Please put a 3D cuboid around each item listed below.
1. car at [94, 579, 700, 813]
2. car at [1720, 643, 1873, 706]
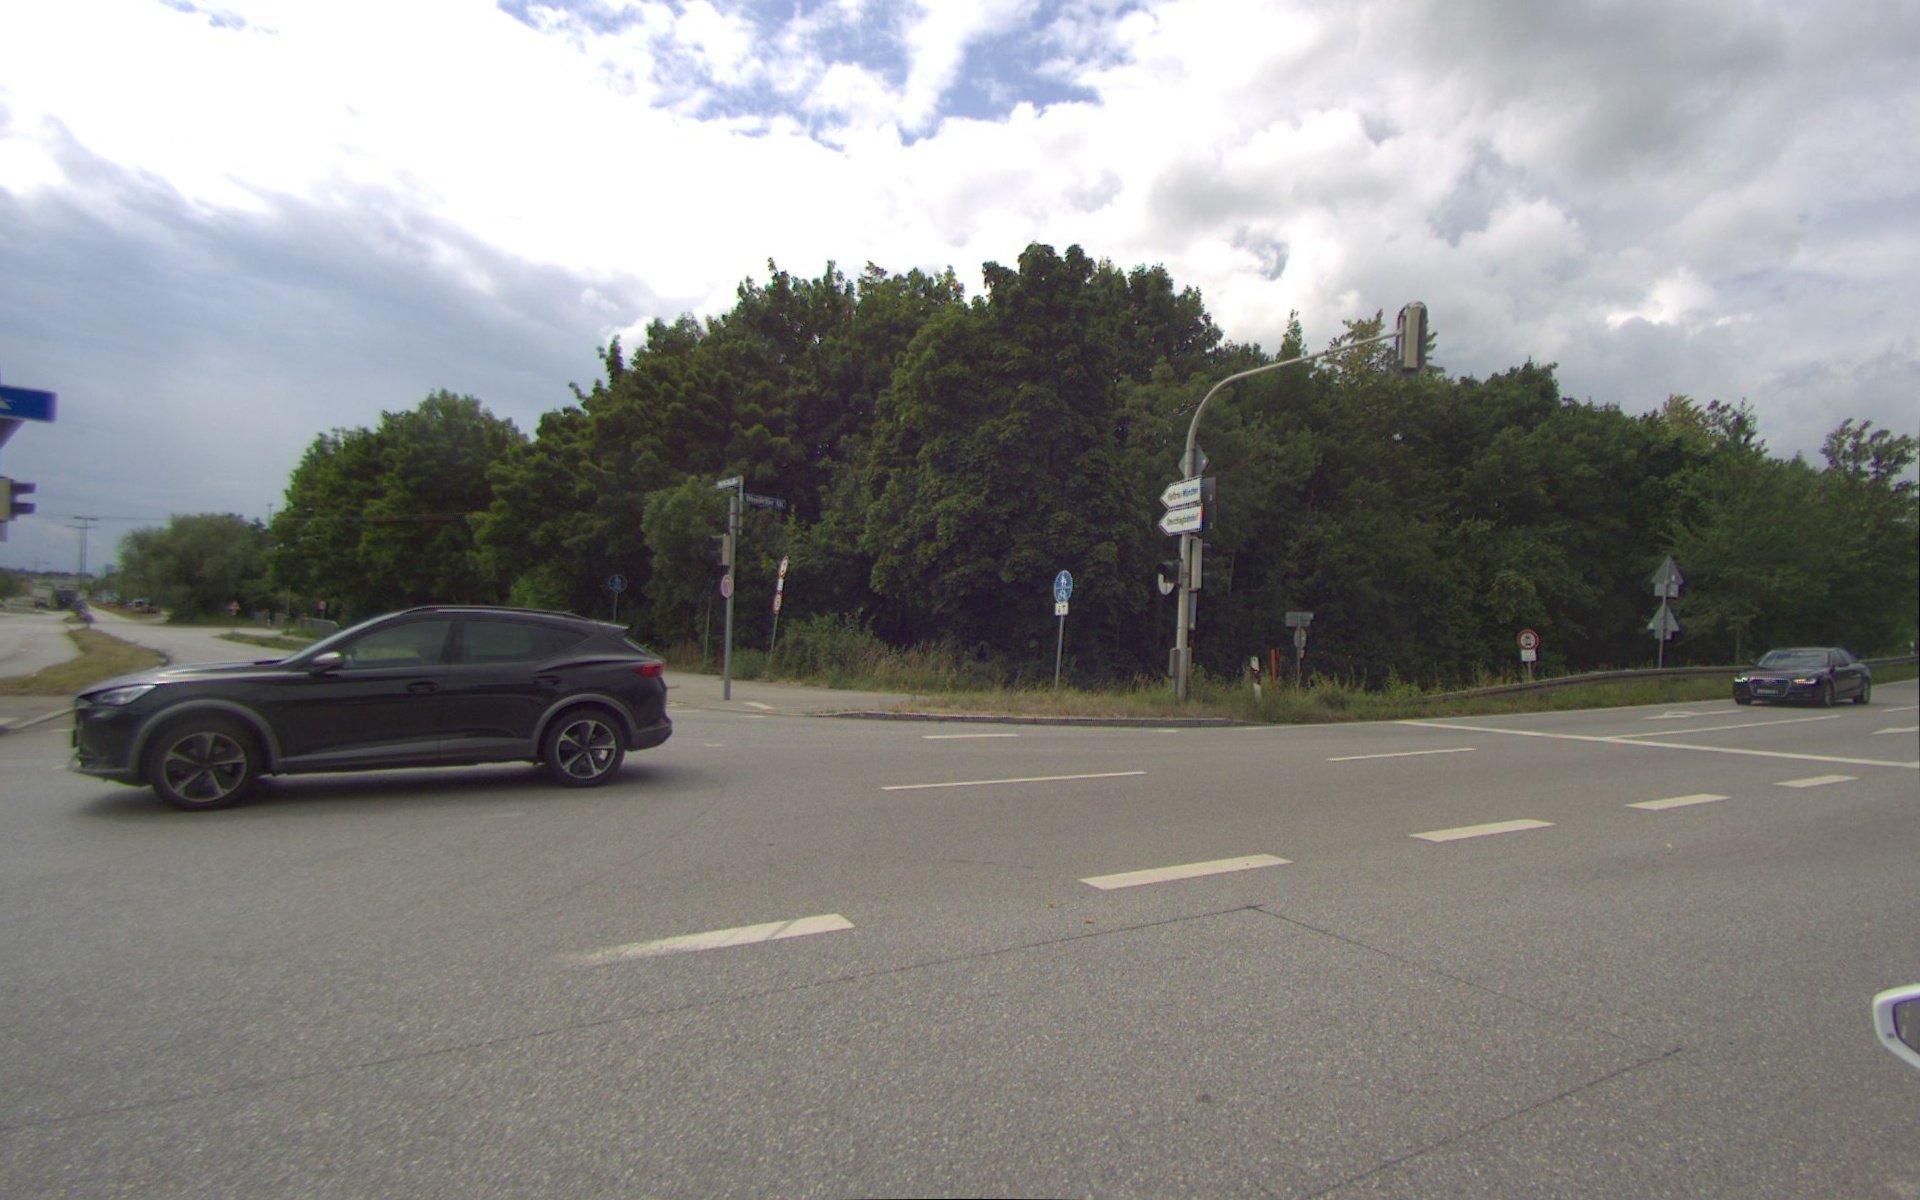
[{"bbox_3d":[-4.580,0.752,8.741,4.155,1.603,1.753,3,-2,-31],"label":"car"},{"bbox_3d":[20.576,1.775,24.680,4.205,1.424,1.728,2,-2,-33],"label":"car"}]
